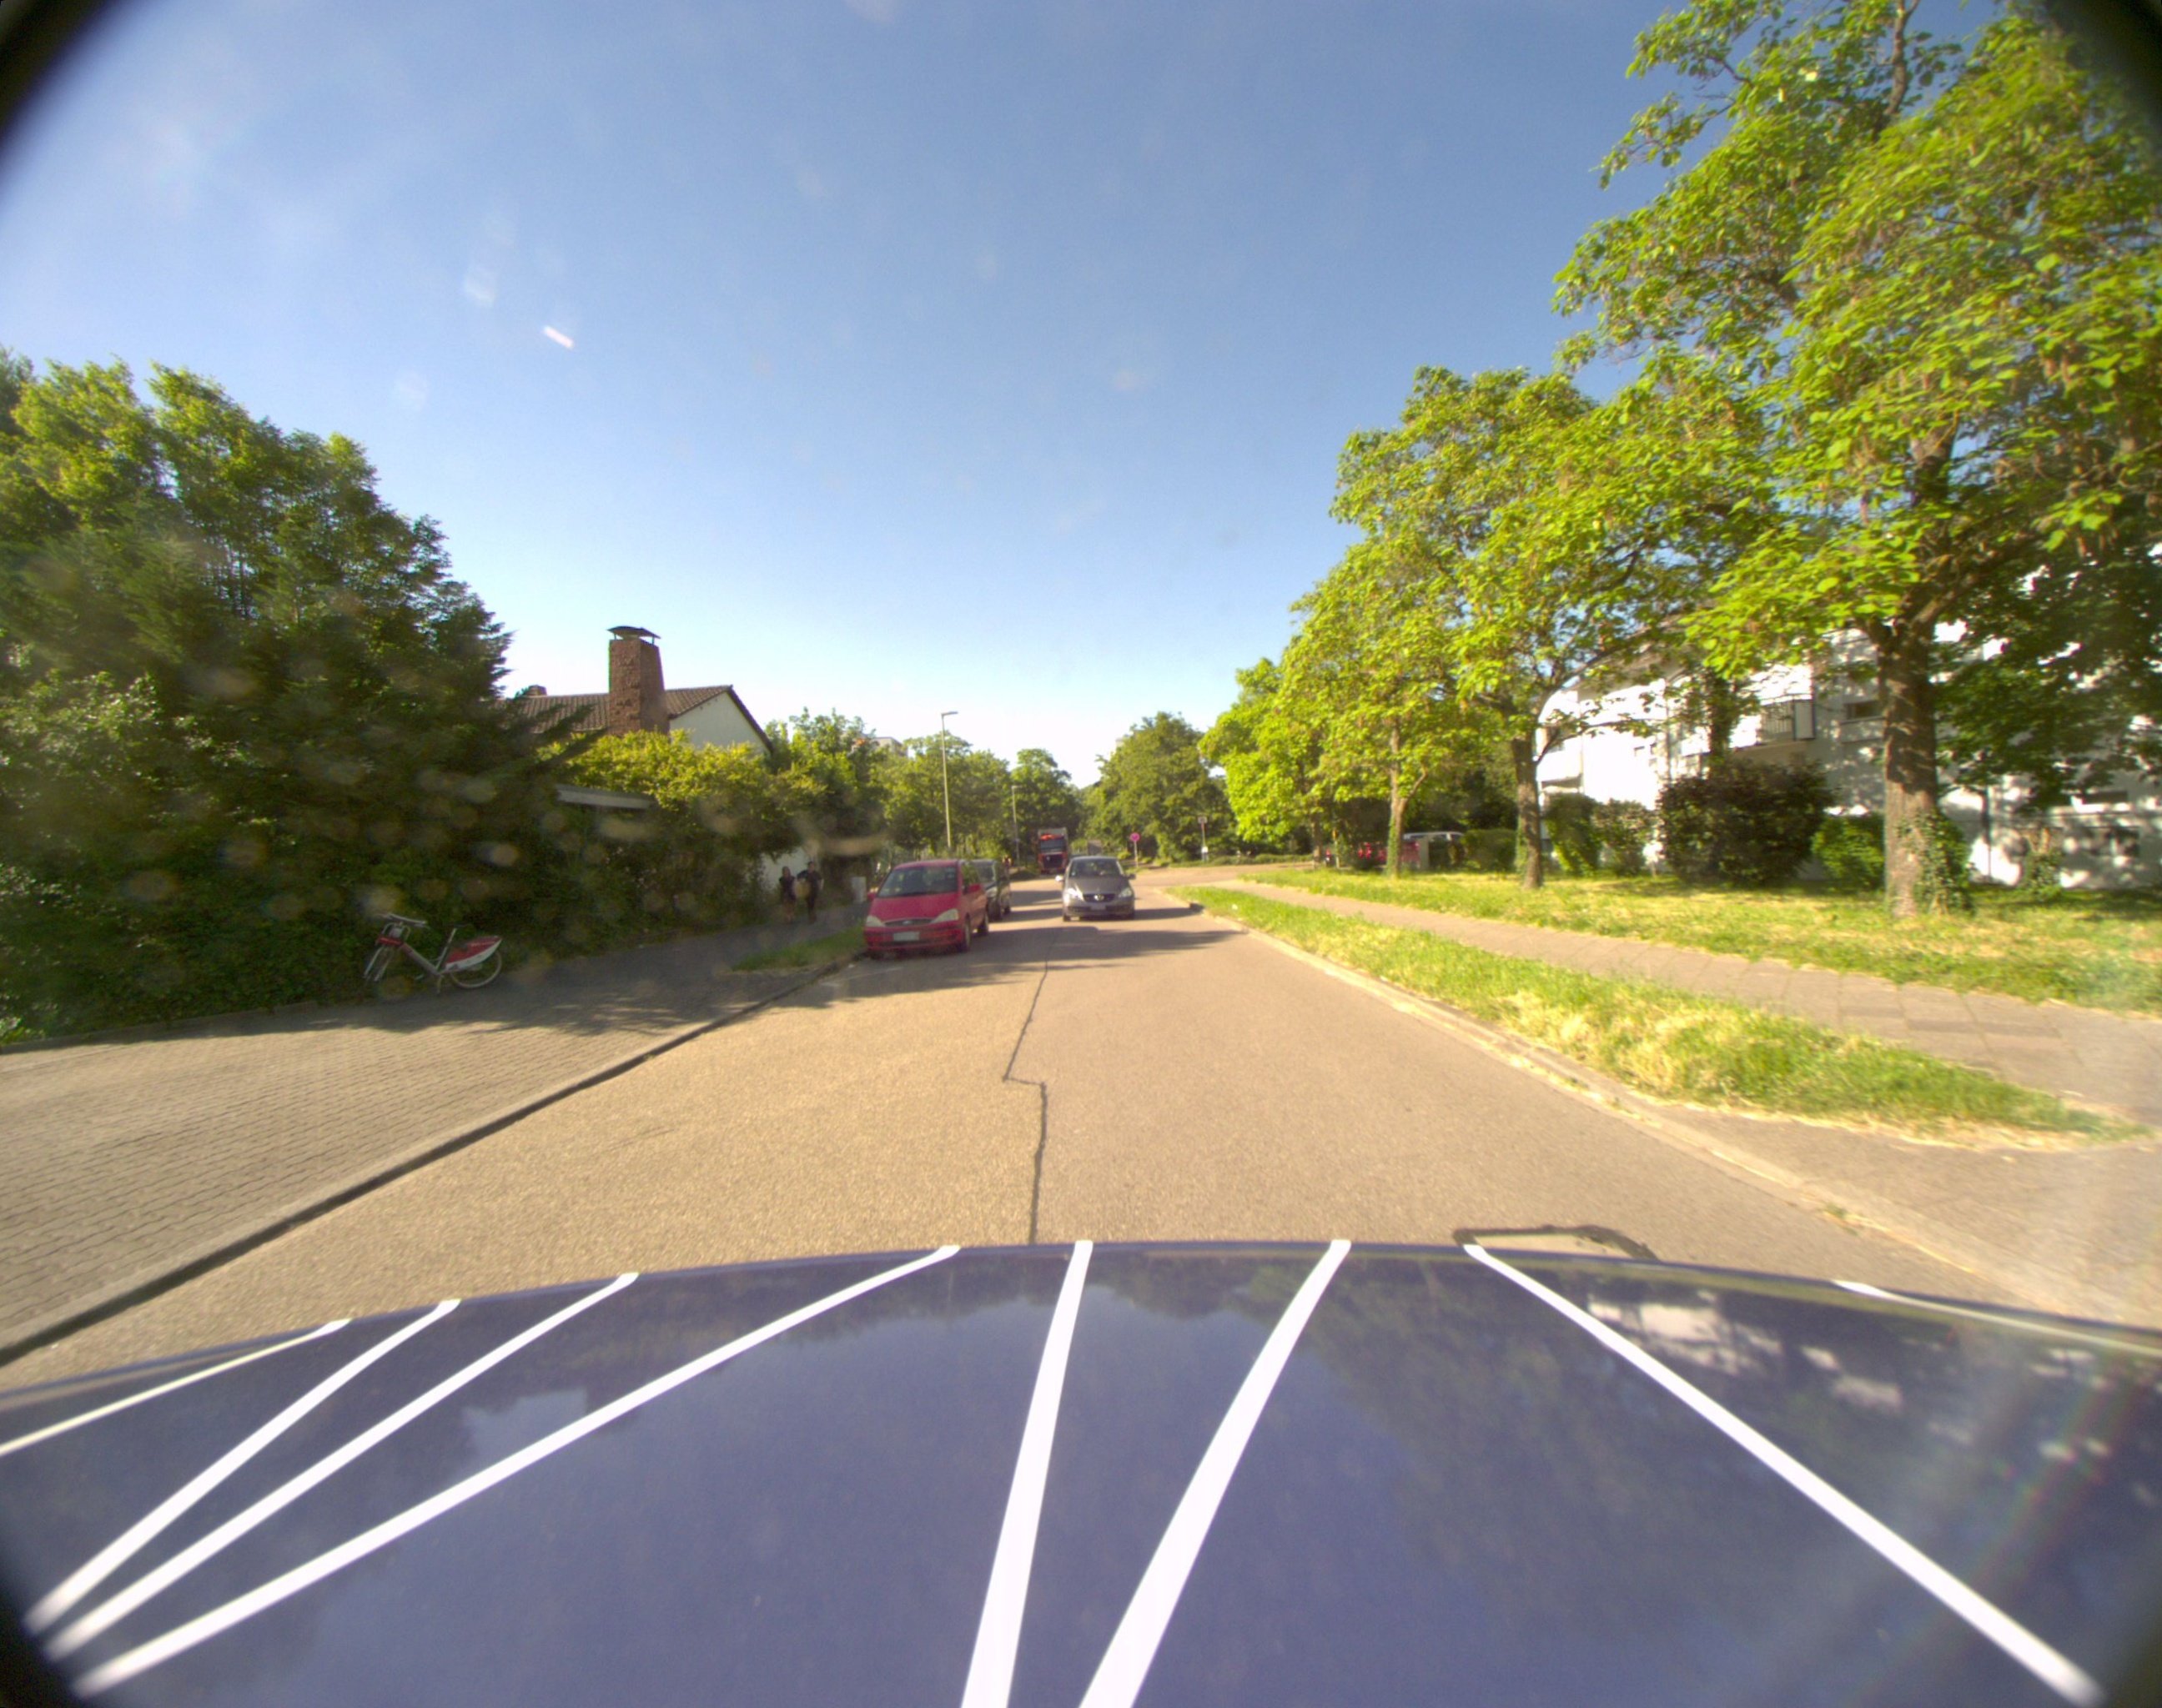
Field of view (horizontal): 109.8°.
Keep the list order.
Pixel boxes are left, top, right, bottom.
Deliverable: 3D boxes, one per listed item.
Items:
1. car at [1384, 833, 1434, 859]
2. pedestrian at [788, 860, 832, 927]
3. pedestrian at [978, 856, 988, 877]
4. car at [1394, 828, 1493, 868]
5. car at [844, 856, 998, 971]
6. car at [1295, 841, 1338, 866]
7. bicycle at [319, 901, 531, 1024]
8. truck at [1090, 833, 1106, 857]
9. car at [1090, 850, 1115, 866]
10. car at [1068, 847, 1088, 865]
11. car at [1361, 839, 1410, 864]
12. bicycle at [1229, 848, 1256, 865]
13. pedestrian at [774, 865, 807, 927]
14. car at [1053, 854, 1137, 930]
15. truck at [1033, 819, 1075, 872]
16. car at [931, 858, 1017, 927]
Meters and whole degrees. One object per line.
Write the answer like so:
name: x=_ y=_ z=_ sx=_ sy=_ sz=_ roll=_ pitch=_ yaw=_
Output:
car: x=22.285 y=-0.580 z=51.808 sx=1.674 sy=1.594 sz=3.884 roll=-3 pitch=2 yaw=0
pedestrian: x=-7.275 y=1.042 z=20.455 sx=0.806 sy=1.707 sz=0.983 roll=-1 pitch=2 yaw=-3
pedestrian: x=-7.729 y=0.952 z=59.985 sx=0.641 sy=1.629 sz=0.641 roll=-3 pitch=1 yaw=3
car: x=20.137 y=-0.304 z=42.333 sx=4.461 sy=1.957 sz=2.069 roll=-2 pitch=0 yaw=3
car: x=-2.886 y=0.987 z=14.827 sx=1.844 sy=1.795 sz=4.654 roll=-3 pitch=0 yaw=1
car: x=15.863 y=-0.049 z=51.325 sx=1.674 sy=1.479 sz=3.884 roll=-3 pitch=2 yaw=0
bicycle: x=-8.185 y=1.294 z=9.614 sx=0.721 sy=1.214 sz=1.898 roll=-1 pitch=2 yaw=16
truck: x=2.963 y=-1.614 z=134.370 sx=2.803 sy=3.996 sz=9.623 roll=-1 pitch=2 yaw=1
car: x=2.161 y=0.409 z=77.417 sx=1.667 sy=1.458 sz=4.184 roll=-2 pitch=2 yaw=-9
car: x=-0.344 y=0.216 z=81.603 sx=1.845 sy=1.795 sz=4.028 roll=-3 pitch=1 yaw=-2
car: x=20.223 y=-0.221 z=50.606 sx=1.674 sy=1.479 sz=3.884 roll=-3 pitch=2 yaw=0
bicycle: x=11.896 y=0.190 z=56.106 sx=1.902 sy=1.146 sz=0.760 roll=-3 pitch=4 yaw=10
pedestrian: x=-7.799 y=1.122 z=20.418 sx=0.574 sy=1.600 sz=0.792 roll=-1 pitch=2 yaw=-3
car: x=0.331 y=0.878 z=19.268 sx=1.855 sy=1.635 sz=3.755 roll=-3 pitch=0 yaw=0
truck: x=-2.330 y=-0.775 z=69.955 sx=3.166 sy=4.320 sz=10.582 roll=-3 pitch=1 yaw=1
car: x=-2.888 y=0.997 z=21.445 sx=1.729 sy=1.647 sz=4.352 roll=-3 pitch=0 yaw=0
